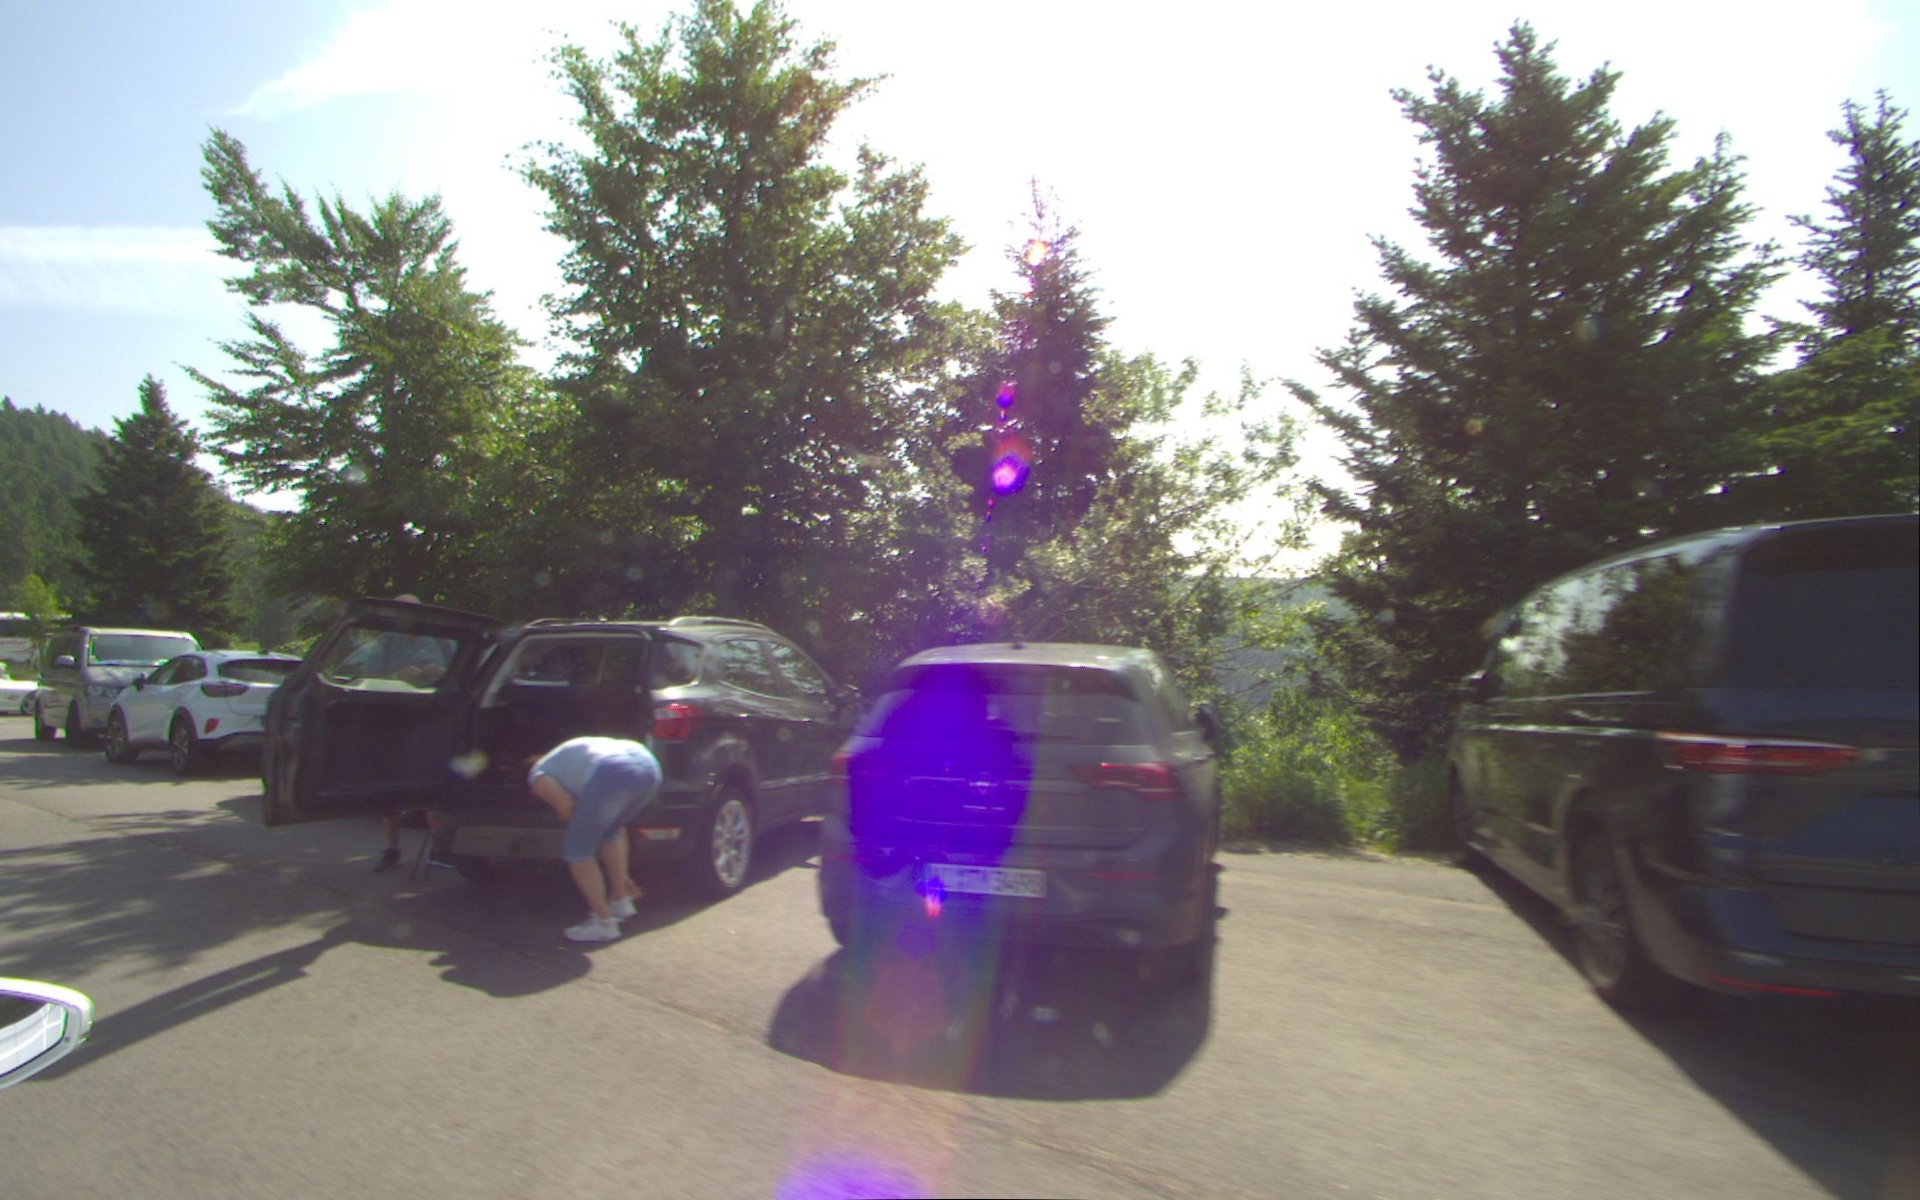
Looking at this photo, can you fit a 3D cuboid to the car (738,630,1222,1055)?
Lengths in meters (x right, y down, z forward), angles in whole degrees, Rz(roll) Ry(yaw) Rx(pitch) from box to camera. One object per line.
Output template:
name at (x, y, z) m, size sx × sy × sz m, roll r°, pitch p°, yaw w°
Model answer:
car at (0.525, 0.959, 5.691) m, size 1.806 × 1.460 × 3.998 m, roll 0°, pitch -3°, yaw 16°

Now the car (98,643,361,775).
car at (-9.937, 1.410, 13.537) m, size 3.997 × 1.536 × 1.676 m, roll -2°, pitch -6°, yaw 36°

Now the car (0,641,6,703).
car at (-28.763, 1.856, 26.962) m, size 1.970 × 1.720 × 3.987 m, roll 1°, pitch -4°, yaw 30°

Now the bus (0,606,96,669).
bus at (-58.960, 2.167, 58.391) m, size 12.744 × 3.626 × 2.959 m, roll 1°, pitch 1°, yaw -36°

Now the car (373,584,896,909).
car at (-1.909, 0.941, 7.357) m, size 1.962 × 1.681 × 4.005 m, roll 0°, pitch -5°, yaw 10°

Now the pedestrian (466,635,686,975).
pedestrian at (-1.844, 0.905, 4.828) m, size 0.662 × 1.422 × 0.769 m, roll 2°, pitch 2°, yaw 44°

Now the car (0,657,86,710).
car at (-24.789, 2.041, 24.795) m, size 1.555 × 1.314 × 4.464 m, roll 0°, pitch -5°, yaw 21°

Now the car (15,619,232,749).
car at (-14.804, 1.412, 17.633) m, size 4.760 × 1.996 × 1.900 m, roll -1°, pitch -5°, yaw 38°

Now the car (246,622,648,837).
car at (-5.085, 1.130, 9.712) m, size 4.255 × 1.651 × 1.739 m, roll -2°, pitch -5°, yaw 37°

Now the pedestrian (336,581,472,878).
pedestrian at (-3.586, 0.804, 6.460) m, size 0.626 × 1.782 × 0.576 m, roll 3°, pitch -3°, yaw -39°

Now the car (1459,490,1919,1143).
car at (3.969, 0.754, 5.056) m, size 1.931 × 1.903 × 4.768 m, roll 0°, pitch -3°, yaw 18°
